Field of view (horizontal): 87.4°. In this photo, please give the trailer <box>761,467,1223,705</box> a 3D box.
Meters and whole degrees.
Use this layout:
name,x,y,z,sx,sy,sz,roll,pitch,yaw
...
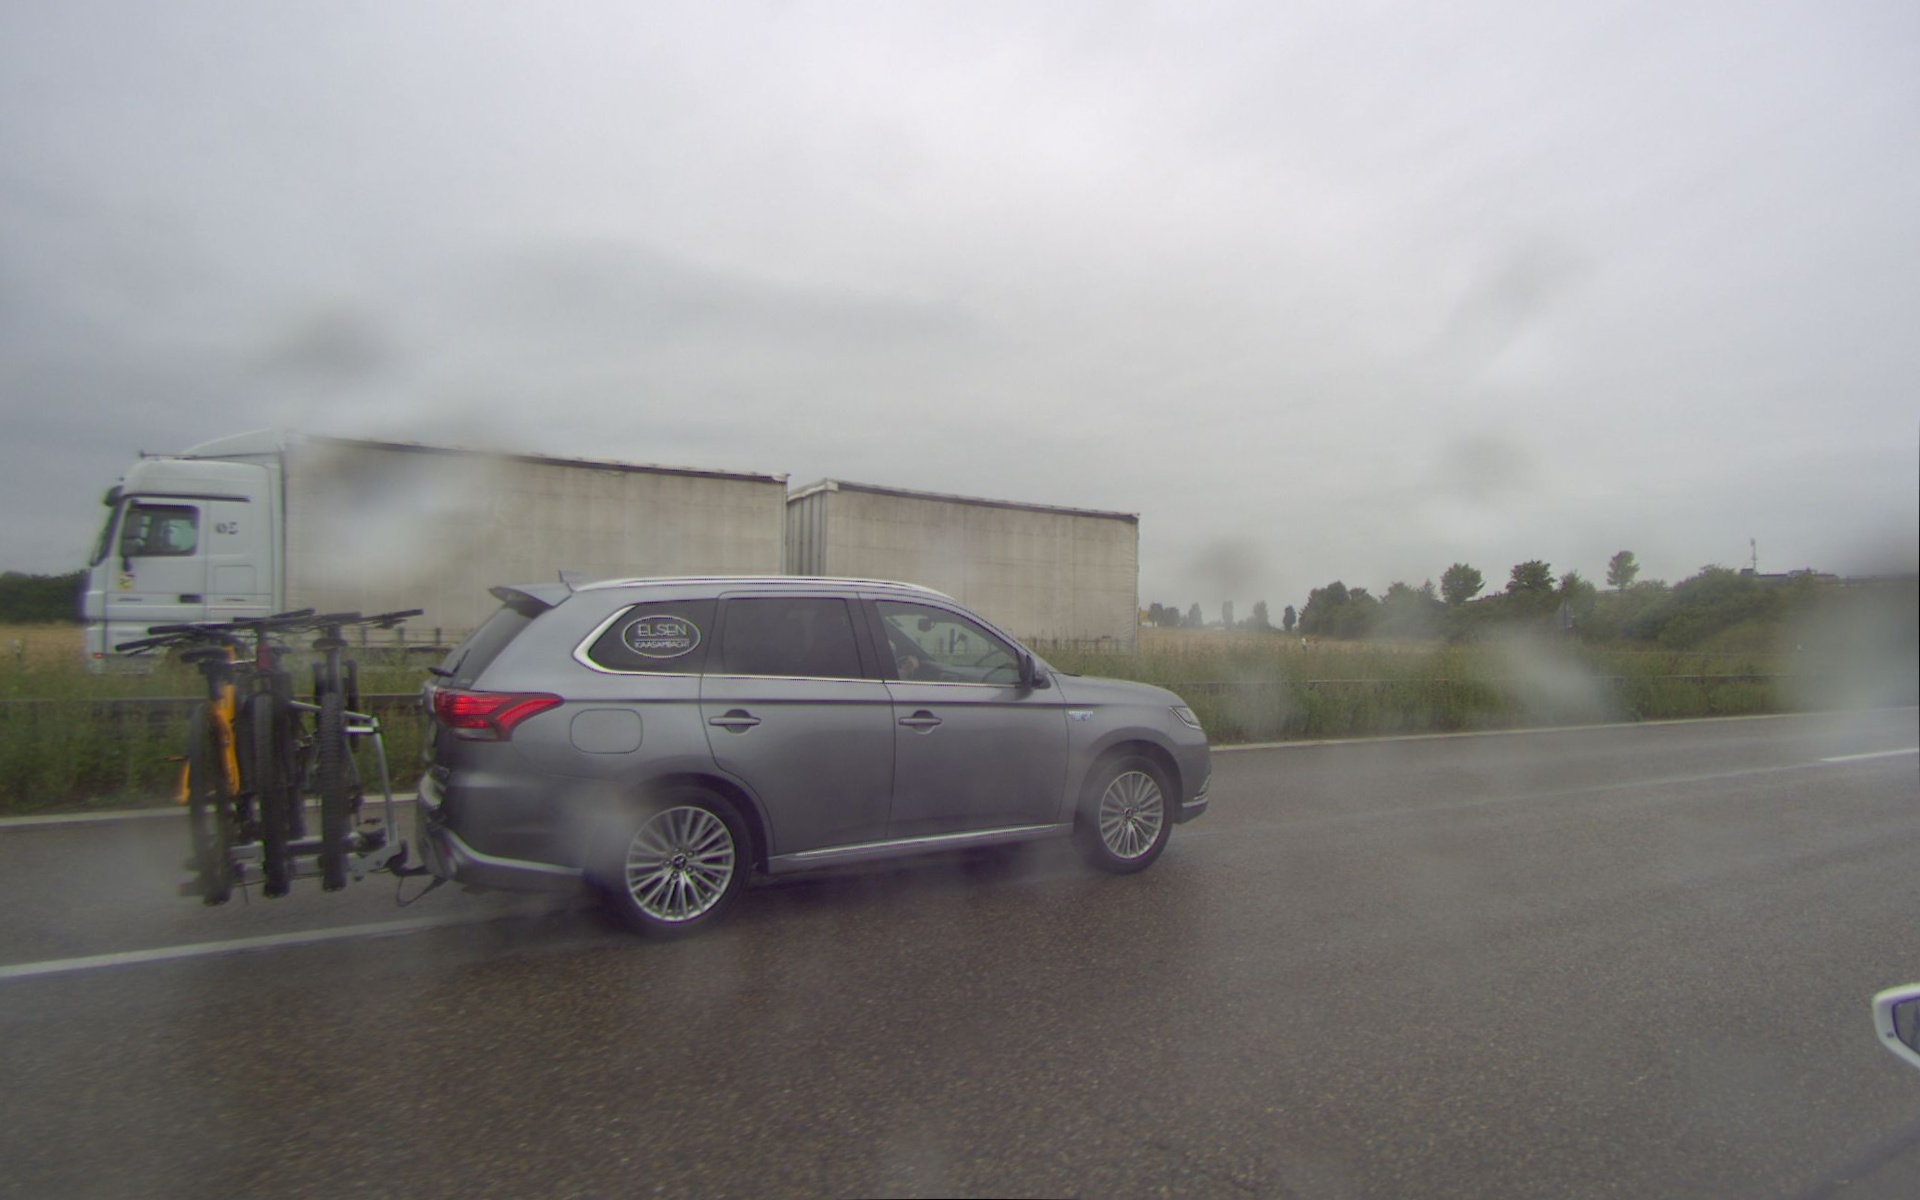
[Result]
name,x,y,z,sx,sy,sz,roll,pitch,yaw
trailer,1.020,-0.071,22.807,10.391,4.443,3.214,2,-2,-31

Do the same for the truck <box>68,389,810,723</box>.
name,x,y,z,sx,sy,sz,roll,pitch,yaw
truck,-8.089,-0.395,17.391,10.391,4.443,3.214,2,-2,-31

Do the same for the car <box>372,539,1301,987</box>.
name,x,y,z,sx,sy,sz,roll,pitch,yaw
car,-0.472,0.684,5.842,5.044,1.656,1.853,2,-1,-31
